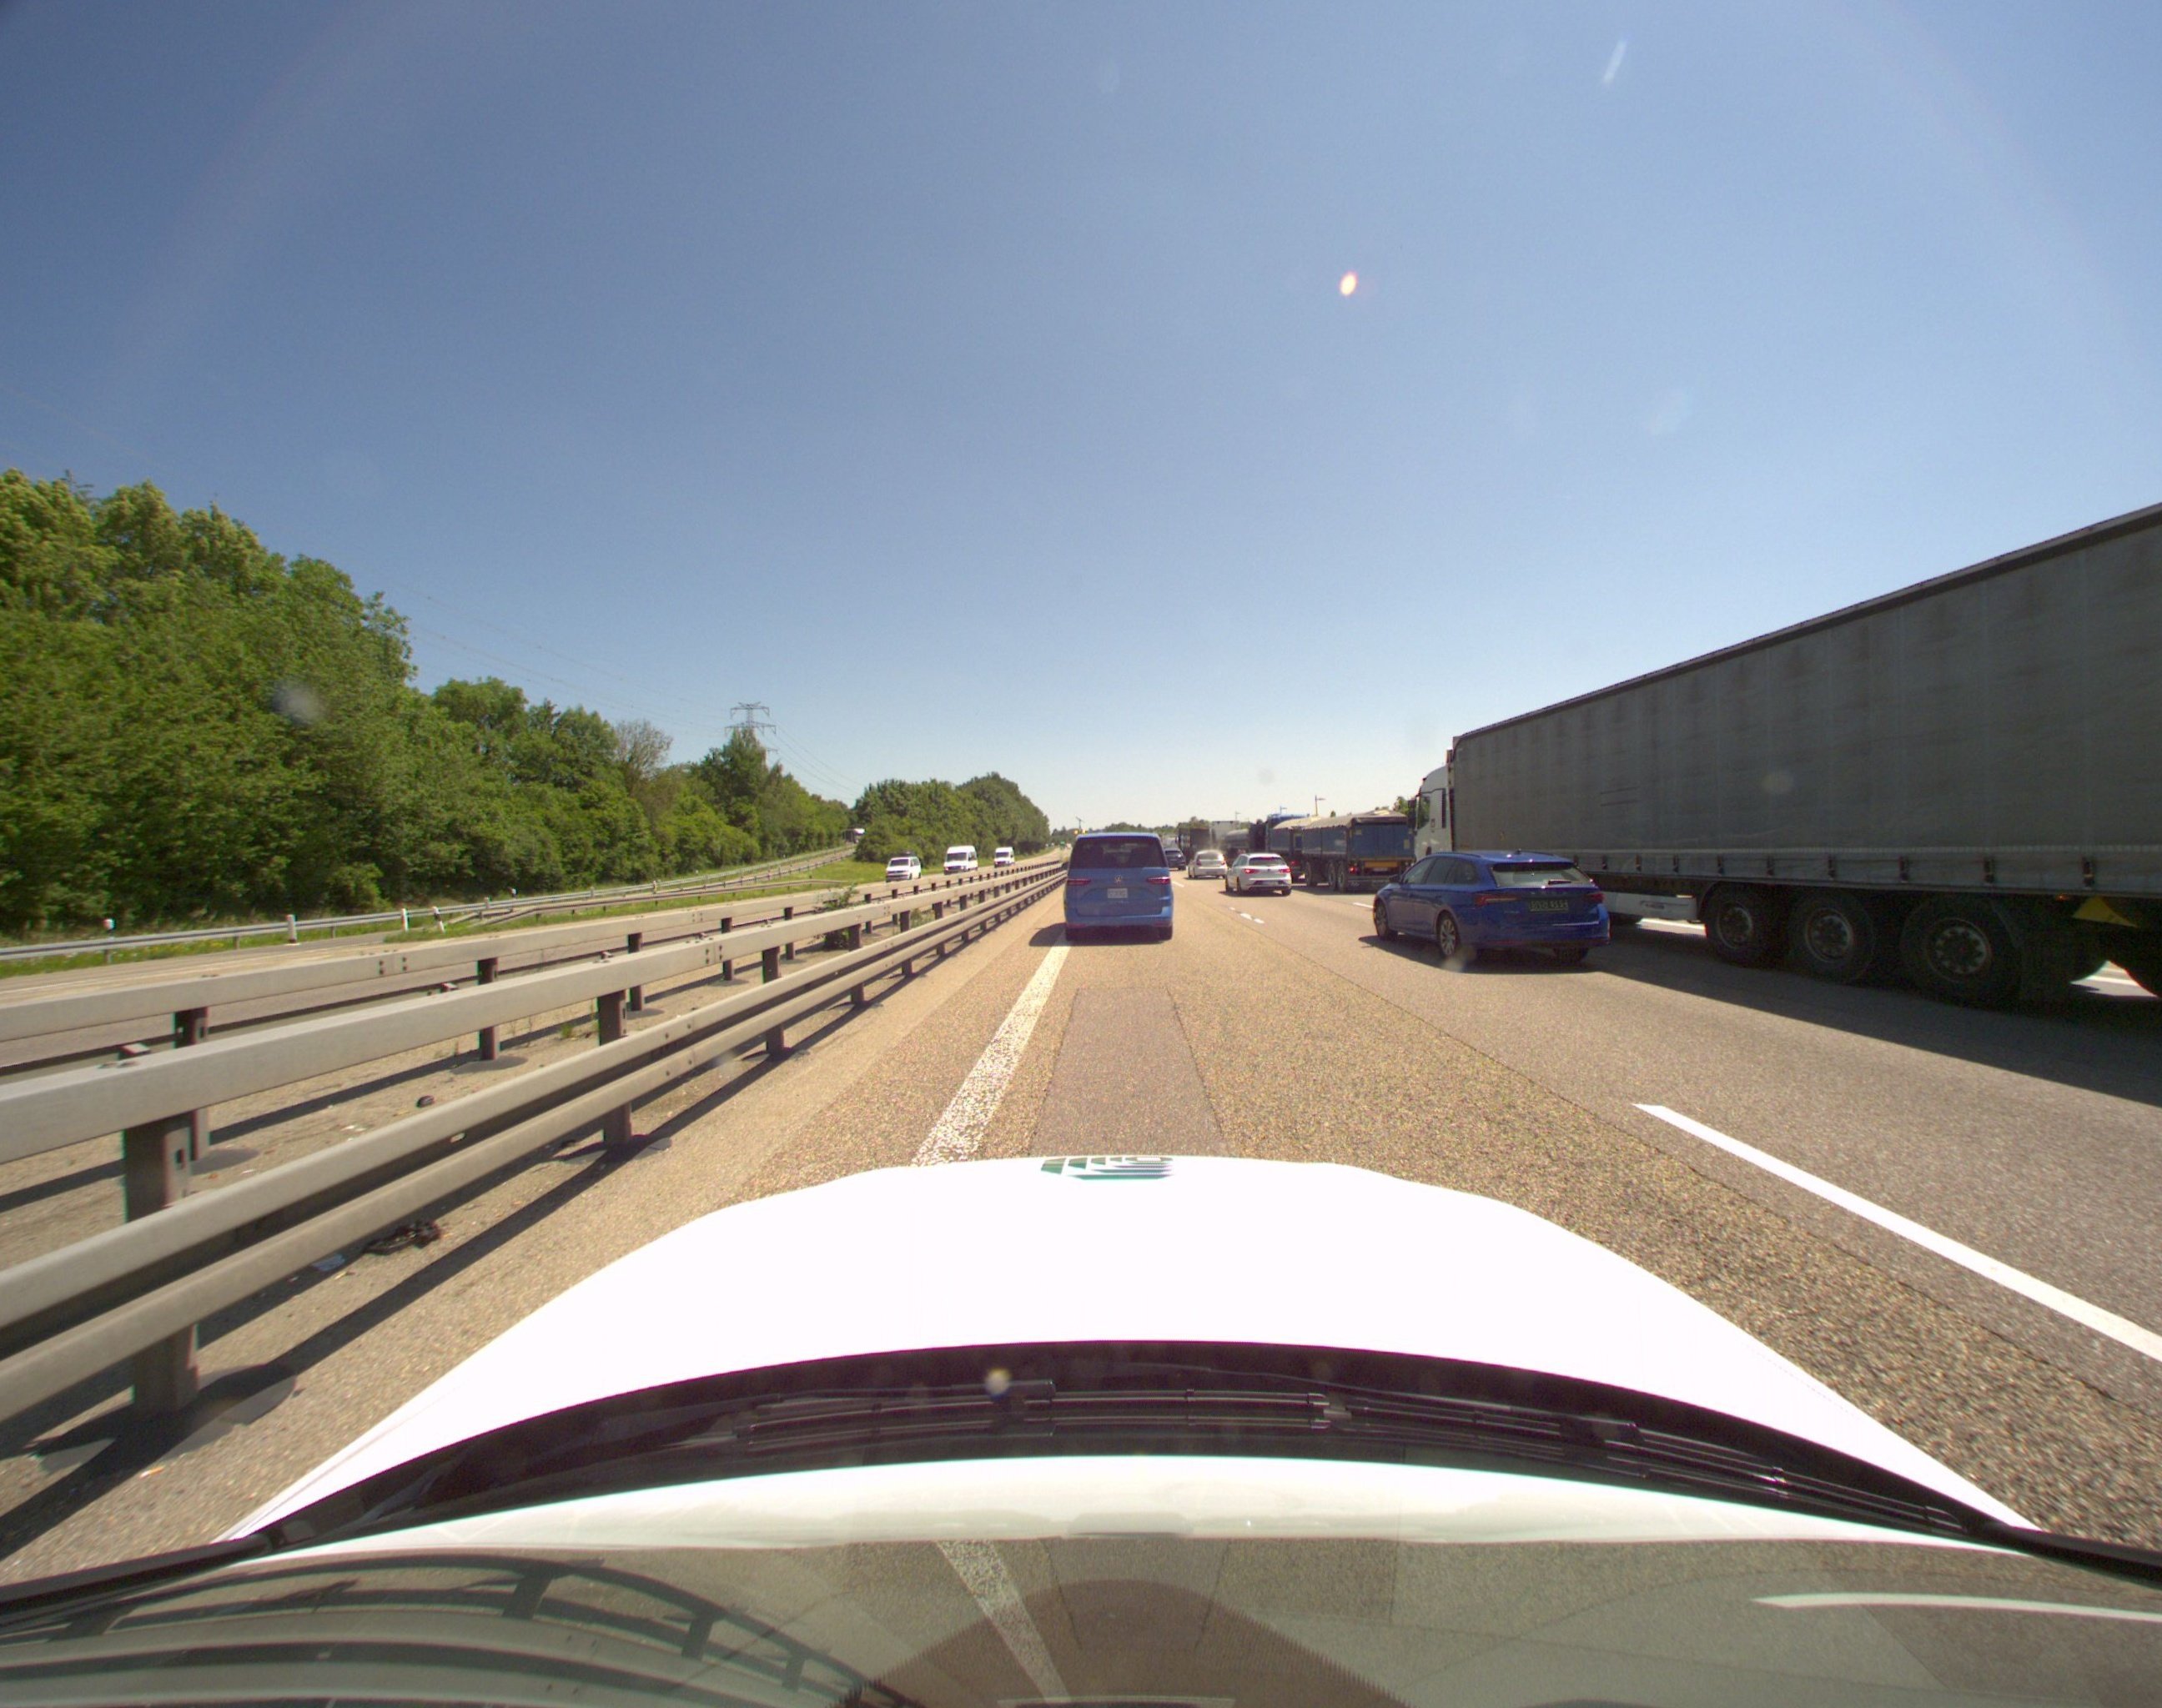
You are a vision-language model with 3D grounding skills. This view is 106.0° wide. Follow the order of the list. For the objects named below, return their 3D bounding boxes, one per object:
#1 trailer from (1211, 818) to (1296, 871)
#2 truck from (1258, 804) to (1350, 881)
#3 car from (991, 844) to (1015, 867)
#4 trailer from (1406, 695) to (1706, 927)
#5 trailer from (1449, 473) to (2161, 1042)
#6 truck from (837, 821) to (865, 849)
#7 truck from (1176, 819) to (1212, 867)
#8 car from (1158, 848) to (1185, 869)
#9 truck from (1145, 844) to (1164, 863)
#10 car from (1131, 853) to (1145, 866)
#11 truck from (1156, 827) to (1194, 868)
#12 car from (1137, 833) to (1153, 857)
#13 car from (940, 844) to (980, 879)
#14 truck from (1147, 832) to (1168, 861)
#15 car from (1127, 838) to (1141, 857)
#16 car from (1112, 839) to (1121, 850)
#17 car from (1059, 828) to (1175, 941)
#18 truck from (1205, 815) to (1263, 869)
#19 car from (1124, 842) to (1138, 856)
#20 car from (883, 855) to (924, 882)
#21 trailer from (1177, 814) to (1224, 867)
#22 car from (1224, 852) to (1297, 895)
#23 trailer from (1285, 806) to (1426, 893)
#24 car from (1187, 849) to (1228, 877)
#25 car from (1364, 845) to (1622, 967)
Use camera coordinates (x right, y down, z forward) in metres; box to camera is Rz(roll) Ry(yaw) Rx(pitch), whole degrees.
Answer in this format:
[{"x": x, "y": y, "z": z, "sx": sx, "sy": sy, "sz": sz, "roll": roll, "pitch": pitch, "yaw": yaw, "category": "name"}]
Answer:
[{"x": 11.414, "y": -0.476, "z": 55.935, "sx": 3.630, "sy": 3.079, "sz": 15.789, "roll": -1, "pitch": -1, "yaw": 4, "category": "trailer"}, {"x": 10.526, "y": -0.549, "z": 39.132, "sx": 2.733, "sy": 3.311, "sz": 7.137, "roll": 0, "pitch": 1, "yaw": 2, "category": "truck"}, {"x": -9.377, "y": 0.201, "z": 98.362, "sx": 2.148, "sy": 2.594, "sz": 5.892, "roll": -3, "pitch": -1, "yaw": 2, "category": "car"}, {"x": 9.681, "y": -0.778, "z": 17.634, "sx": 2.913, "sy": 4.043, "sz": 6.414, "roll": -1, "pitch": 0, "yaw": 2, "category": "trailer"}, {"x": 9.417, "y": -0.718, "z": 11.242, "sx": 2.950, "sy": 4.049, "sz": 13.760, "roll": -1, "pitch": 0, "yaw": 2, "category": "trailer"}, {"x": -62.978, "y": -4.975, "z": 222.465, "sx": 4.699, "sy": 7.228, "sz": 13.516, "roll": 0, "pitch": -1, "yaw": -28, "category": "truck"}, {"x": 12.734, "y": -1.179, "z": 92.308, "sx": 3.643, "sy": 5.180, "sz": 5.714, "roll": 0, "pitch": -1, "yaw": 3, "category": "truck"}, {"x": 6.844, "y": 0.375, "z": 61.979, "sx": 1.774, "sy": 1.524, "sz": 4.002, "roll": 0, "pitch": -1, "yaw": 2, "category": "car"}, {"x": 7.447, "y": -0.004, "z": 82.797, "sx": 1.719, "sy": 1.857, "sz": 4.002, "roll": 0, "pitch": -1, "yaw": 2, "category": "truck"}, {"x": 9.221, "y": 0.921, "z": 132.187, "sx": 1.986, "sy": 2.014, "sz": 4.002, "roll": 0, "pitch": -1, "yaw": 2, "category": "car"}, {"x": 12.637, "y": -0.785, "z": 111.547, "sx": 3.609, "sy": 5.212, "sz": 15.690, "roll": 0, "pitch": -1, "yaw": 1, "category": "truck"}, {"x": 14.379, "y": -2.022, "z": 183.422, "sx": 3.206, "sy": 5.257, "sz": 8.148, "roll": 0, "pitch": -1, "yaw": 2, "category": "car"}, {"x": -9.930, "y": 0.627, "z": 67.464, "sx": 2.045, "sy": 2.651, "sz": 5.840, "roll": -5, "pitch": -1, "yaw": 1, "category": "car"}, {"x": 13.475, "y": -1.271, "z": 144.808, "sx": 3.056, "sy": 4.920, "sz": 10.694, "roll": 0, "pitch": -1, "yaw": 2, "category": "truck"}, {"x": 15.498, "y": -1.827, "z": 237.669, "sx": 3.209, "sy": 5.257, "sz": 8.139, "roll": 0, "pitch": -1, "yaw": -1, "category": "car"}, {"x": 11.060, "y": -2.975, "z": 255.299, "sx": 2.478, "sy": 3.204, "sz": 7.368, "roll": 0, "pitch": -1, "yaw": -1, "category": "car"}, {"x": 0.721, "y": 0.523, "z": 15.422, "sx": 1.893, "sy": 1.838, "sz": 4.004, "roll": 0, "pitch": -1, "yaw": 3, "category": "car"}, {"x": 12.113, "y": -0.863, "z": 65.167, "sx": 3.610, "sy": 4.094, "sz": 7.530, "roll": 0, "pitch": -1, "yaw": 3, "category": "truck"}, {"x": 9.769, "y": -0.924, "z": 158.903, "sx": 2.541, "sy": 2.717, "sz": 5.623, "roll": 0, "pitch": -1, "yaw": 2, "category": "car"}, {"x": -13.884, "y": 1.089, "z": 64.034, "sx": 1.858, "sy": 1.904, "sz": 5.493, "roll": -3, "pitch": -1, "yaw": 1, "category": "car"}, {"x": 12.362, "y": -1.234, "z": 85.758, "sx": 3.631, "sy": 5.136, "sz": 13.085, "roll": 0, "pitch": -1, "yaw": 3, "category": "trailer"}, {"x": 6.128, "y": 0.615, "z": 28.246, "sx": 1.859, "sy": 1.361, "sz": 4.004, "roll": 0, "pitch": 0, "yaw": 3, "category": "car"}, {"x": 10.196, "y": -0.205, "z": 31.468, "sx": 2.733, "sy": 2.836, "sz": 9.121, "roll": 0, "pitch": 1, "yaw": 2, "category": "trailer"}, {"x": 6.807, "y": 0.492, "z": 44.148, "sx": 1.833, "sy": 1.454, "sz": 4.003, "roll": 0, "pitch": -1, "yaw": 3, "category": "car"}, {"x": 5.657, "y": 0.636, "z": 11.891, "sx": 1.699, "sy": 1.441, "sz": 4.430, "roll": 0, "pitch": -1, "yaw": 3, "category": "car"}]
